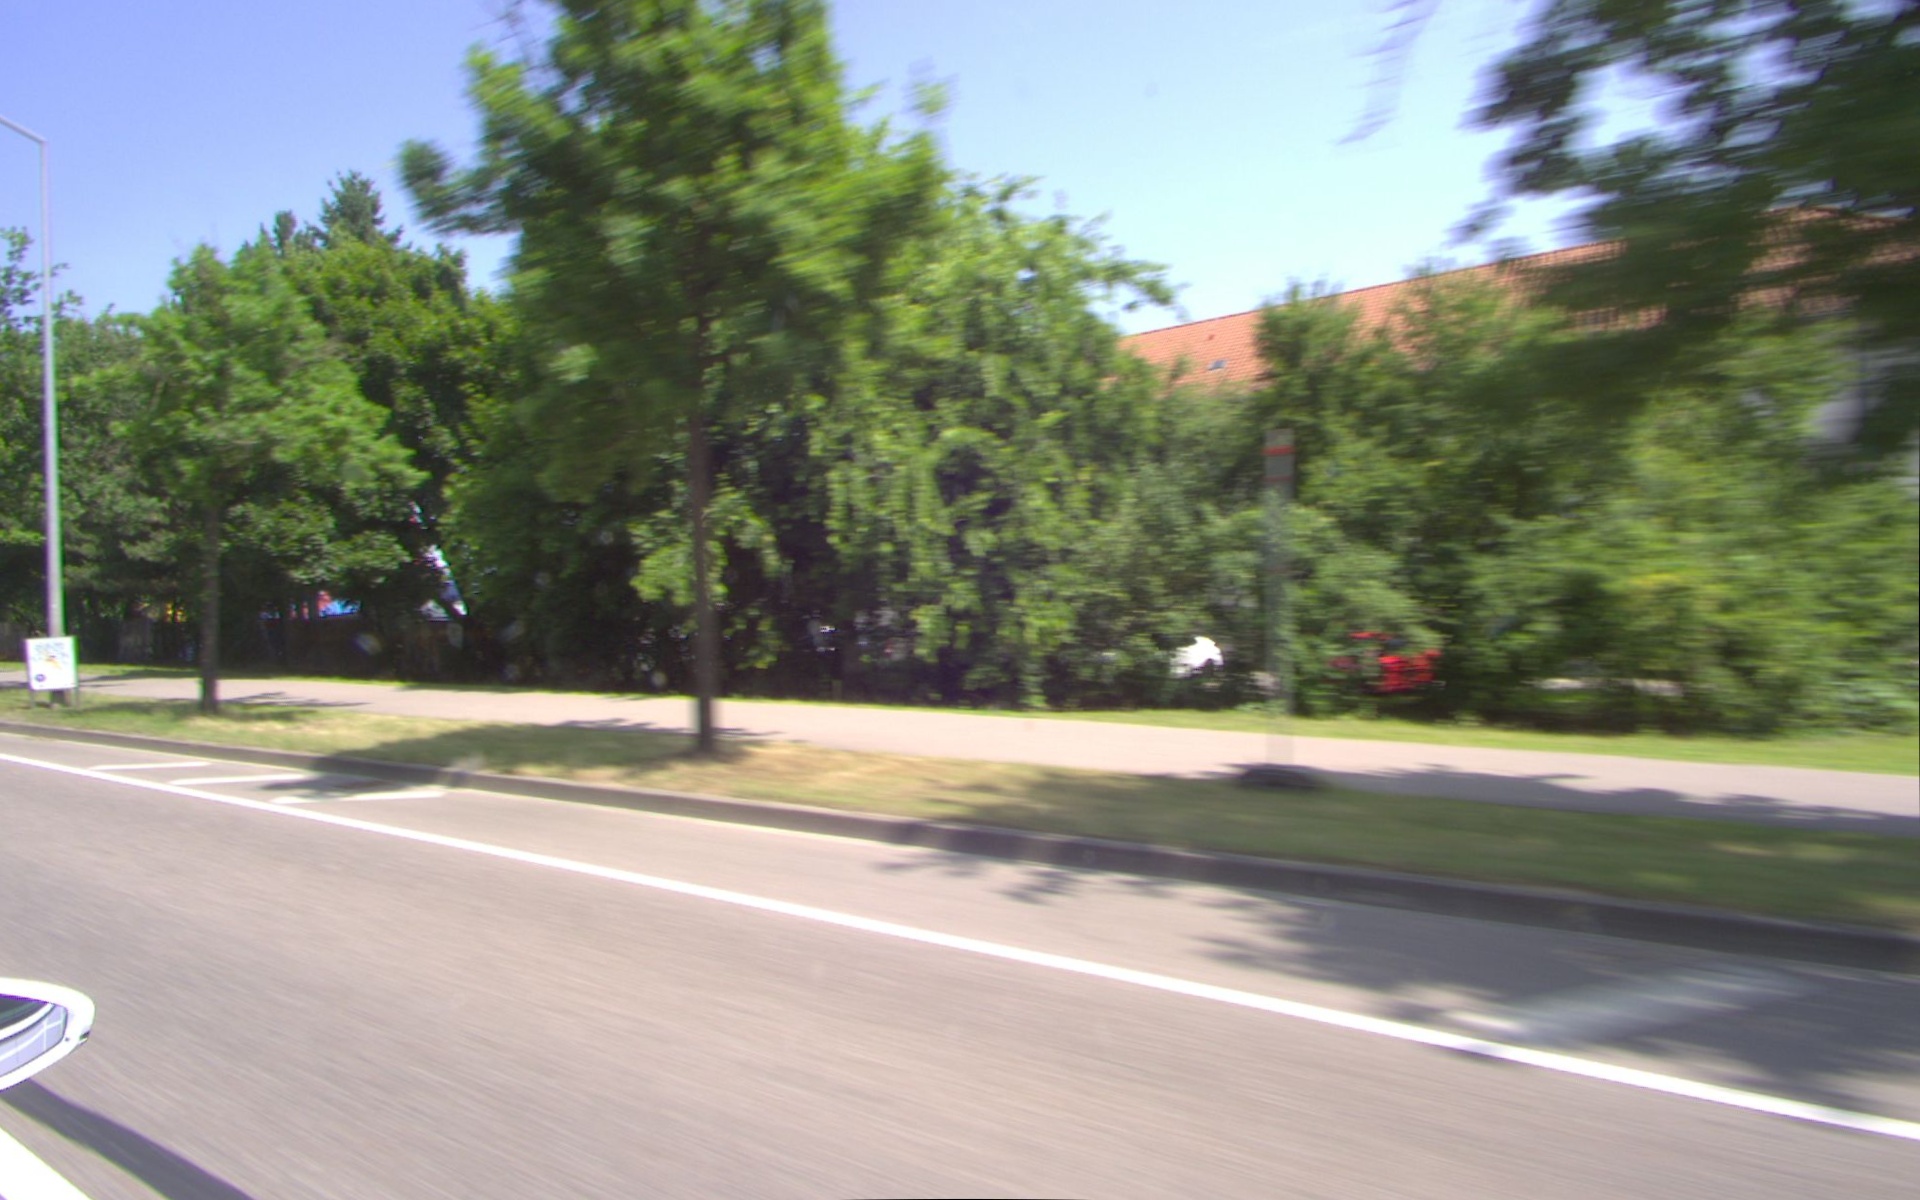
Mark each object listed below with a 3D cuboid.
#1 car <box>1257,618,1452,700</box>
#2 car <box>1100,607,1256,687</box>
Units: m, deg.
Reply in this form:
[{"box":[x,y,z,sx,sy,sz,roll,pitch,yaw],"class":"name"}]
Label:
[{"box":[8.886,1.262,22.564,3.935,1.684,1.873,0,0,-24],"class":"car"},{"box":[5.965,1.213,27.346,3.946,2.040,1.988,0,0,-33],"class":"car"}]
